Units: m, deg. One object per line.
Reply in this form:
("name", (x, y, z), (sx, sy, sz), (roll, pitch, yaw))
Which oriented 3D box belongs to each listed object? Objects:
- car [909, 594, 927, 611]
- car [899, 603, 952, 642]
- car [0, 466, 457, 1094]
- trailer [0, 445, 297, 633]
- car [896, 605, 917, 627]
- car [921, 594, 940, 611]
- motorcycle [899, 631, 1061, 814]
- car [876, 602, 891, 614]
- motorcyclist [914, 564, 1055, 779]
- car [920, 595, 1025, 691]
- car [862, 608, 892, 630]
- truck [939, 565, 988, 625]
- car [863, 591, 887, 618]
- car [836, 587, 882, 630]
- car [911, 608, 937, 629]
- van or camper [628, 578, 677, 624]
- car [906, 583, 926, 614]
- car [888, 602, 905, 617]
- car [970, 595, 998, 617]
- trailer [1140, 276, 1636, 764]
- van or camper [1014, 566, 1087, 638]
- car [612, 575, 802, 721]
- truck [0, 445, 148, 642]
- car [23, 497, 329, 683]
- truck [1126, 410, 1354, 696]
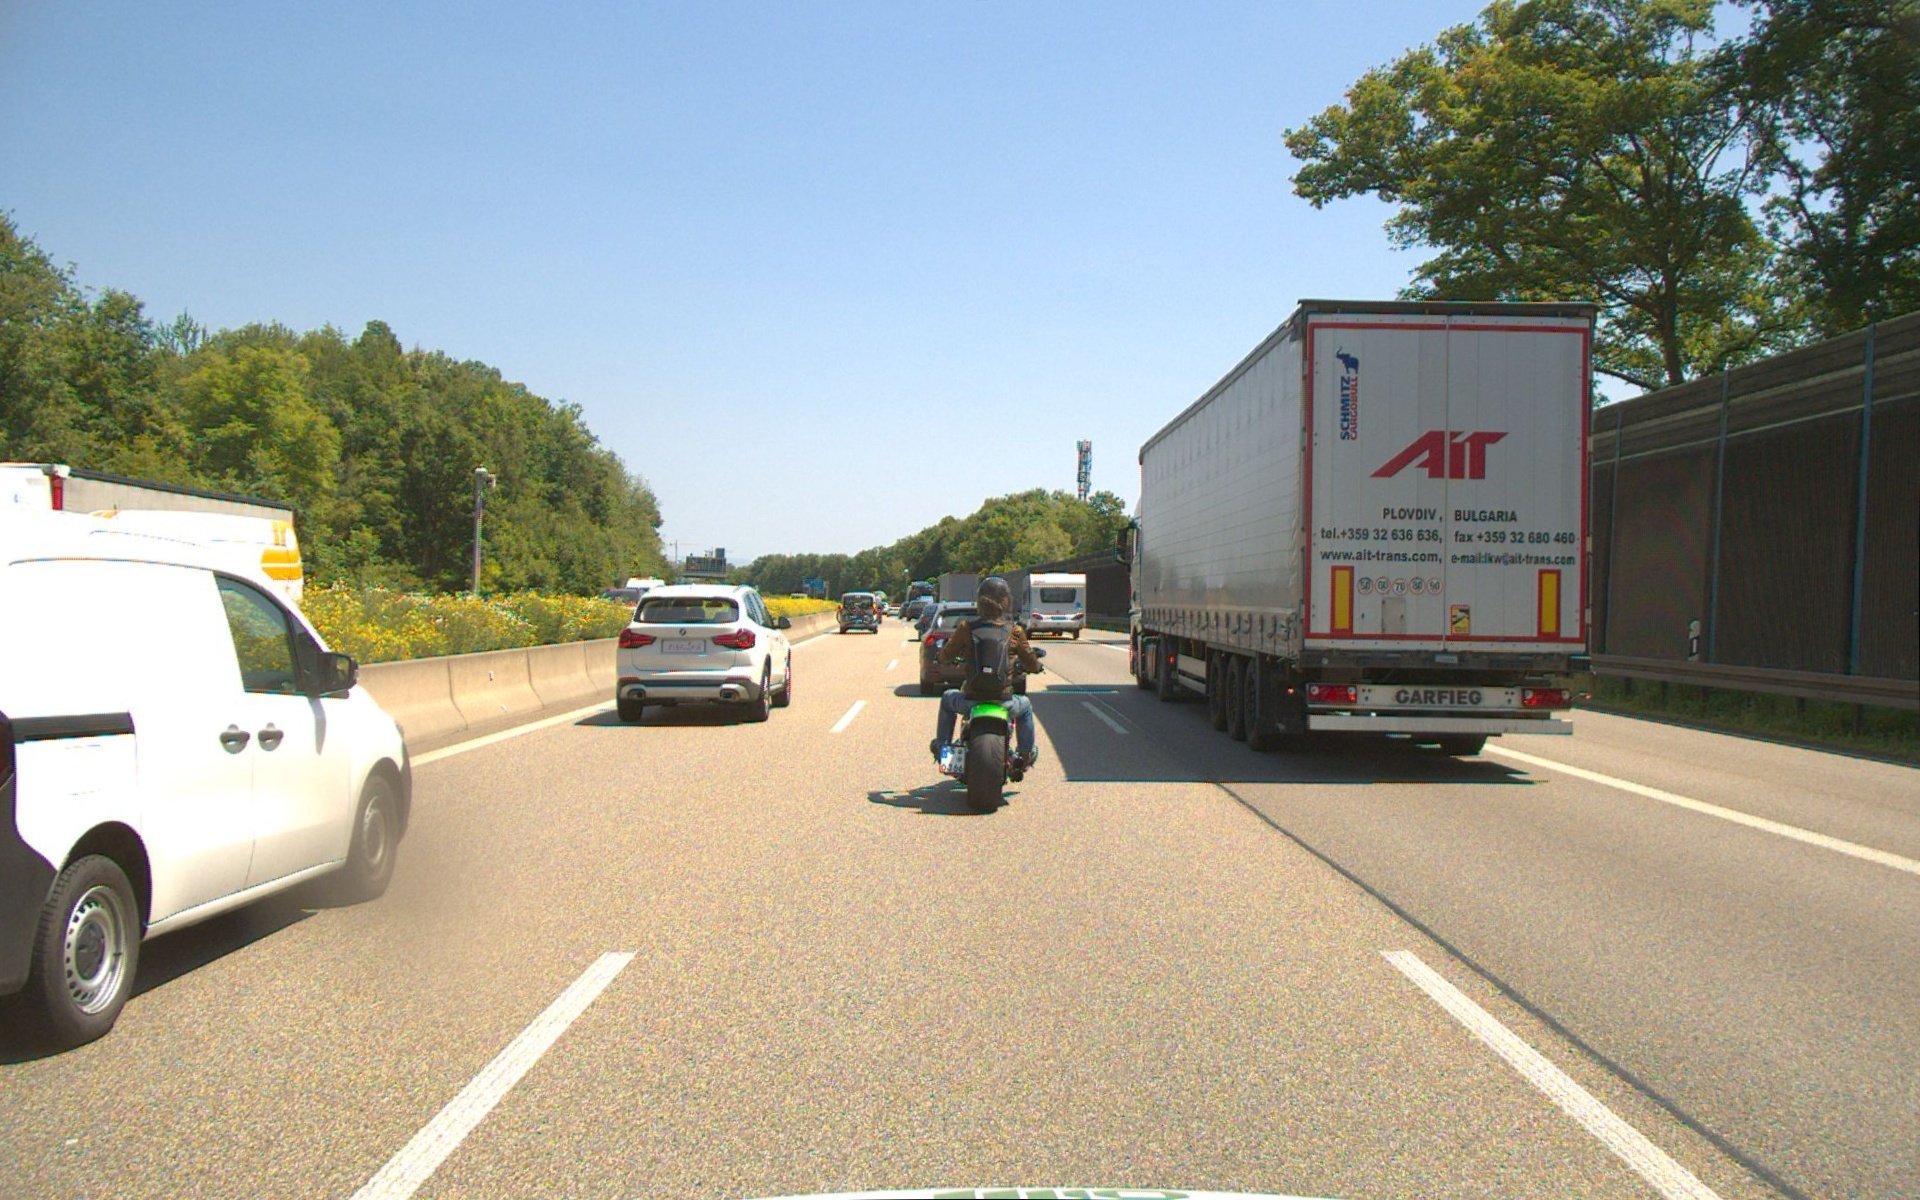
("car", (-5.098, 0.341, 199.914), (2.066, 1.909, 3.997), (0, -1, -3))
("car", (-1.285, 0.869, 62.852), (1.953, 1.455, 3.846), (0, -1, -1))
("car", (-3.697, 0.534, 7.004), (1.729, 1.844, 4.673), (0, 0, -1))
("trailer", (-21.793, -1.267, 44.445), (2.867, 4.306, 13.060), (0, -1, -1))
("car", (-5.242, 1.598, 162.088), (1.874, 2.049, 3.687), (0, -1, -4))
("car", (-3.534, 0.340, 194.335), (2.066, 1.909, 3.997), (0, -1, -3))
("motorcycle", (0.216, 0.851, 12.614), (0.944, 1.168, 2.813), (1, 0, 6))
("car", (-10.149, 1.086, 219.208), (1.797, 1.522, 3.739), (0, -1, -5))
("motorcyclist", (0.222, 0.519, 12.551), (0.880, 1.501, 1.873), (0, -1, 7))
("car", (0.215, 0.708, 27.751), (1.628, 1.478, 3.869), (0, -1, 1))
("car", (-5.573, 1.273, 111.153), (1.953, 1.411, 3.998), (0, -1, -2))
("truck", (0.251, -0.375, 144.348), (3.727, 5.047, 8.943), (0, -1, -4))
("car", (-6.669, 0.392, 130.404), (1.755, 2.049, 3.641), (0, -1, -1))
("car", (-4.620, 0.414, 76.210), (1.860, 1.906, 4.412), (0, -1, 0))
("car", (-2.852, 1.477, 131.867), (1.954, 1.669, 3.997), (0, -1, -3))
("van or camper", (-19.145, 0.064, 103.217), (2.043, 2.748, 6.150), (0, 0, -1))
("car", (-5.662, -0.186, 213.325), (2.091, 3.929, 8.135), (1, 0, -4))
("car", (-7.129, 1.067, 185.457), (1.796, 1.522, 3.740), (0, -1, -4))
("car", (1.802, 0.490, 125.236), (1.953, 1.602, 3.998), (0, -1, -2))
("trailer", (4.365, -0.668, 20.864), (2.826, 4.109, 13.795), (0, 0, 1))
("van or camper", (3.689, 0.146, 68.645), (2.630, 2.862, 6.801), (0, -1, 0))
("car", (-3.229, 0.581, 22.030), (1.826, 1.724, 4.955), (0, 0, -1))
("truck", (-21.632, -1.144, 38.047), (2.904, 4.179, 6.086), (0, -1, -1))
("car", (-13.929, -0.164, 30.119), (2.026, 2.947, 7.461), (0, 0, 0))
("truck", (4.450, -0.699, 27.494), (2.826, 4.218, 5.986), (0, 0, 1))
